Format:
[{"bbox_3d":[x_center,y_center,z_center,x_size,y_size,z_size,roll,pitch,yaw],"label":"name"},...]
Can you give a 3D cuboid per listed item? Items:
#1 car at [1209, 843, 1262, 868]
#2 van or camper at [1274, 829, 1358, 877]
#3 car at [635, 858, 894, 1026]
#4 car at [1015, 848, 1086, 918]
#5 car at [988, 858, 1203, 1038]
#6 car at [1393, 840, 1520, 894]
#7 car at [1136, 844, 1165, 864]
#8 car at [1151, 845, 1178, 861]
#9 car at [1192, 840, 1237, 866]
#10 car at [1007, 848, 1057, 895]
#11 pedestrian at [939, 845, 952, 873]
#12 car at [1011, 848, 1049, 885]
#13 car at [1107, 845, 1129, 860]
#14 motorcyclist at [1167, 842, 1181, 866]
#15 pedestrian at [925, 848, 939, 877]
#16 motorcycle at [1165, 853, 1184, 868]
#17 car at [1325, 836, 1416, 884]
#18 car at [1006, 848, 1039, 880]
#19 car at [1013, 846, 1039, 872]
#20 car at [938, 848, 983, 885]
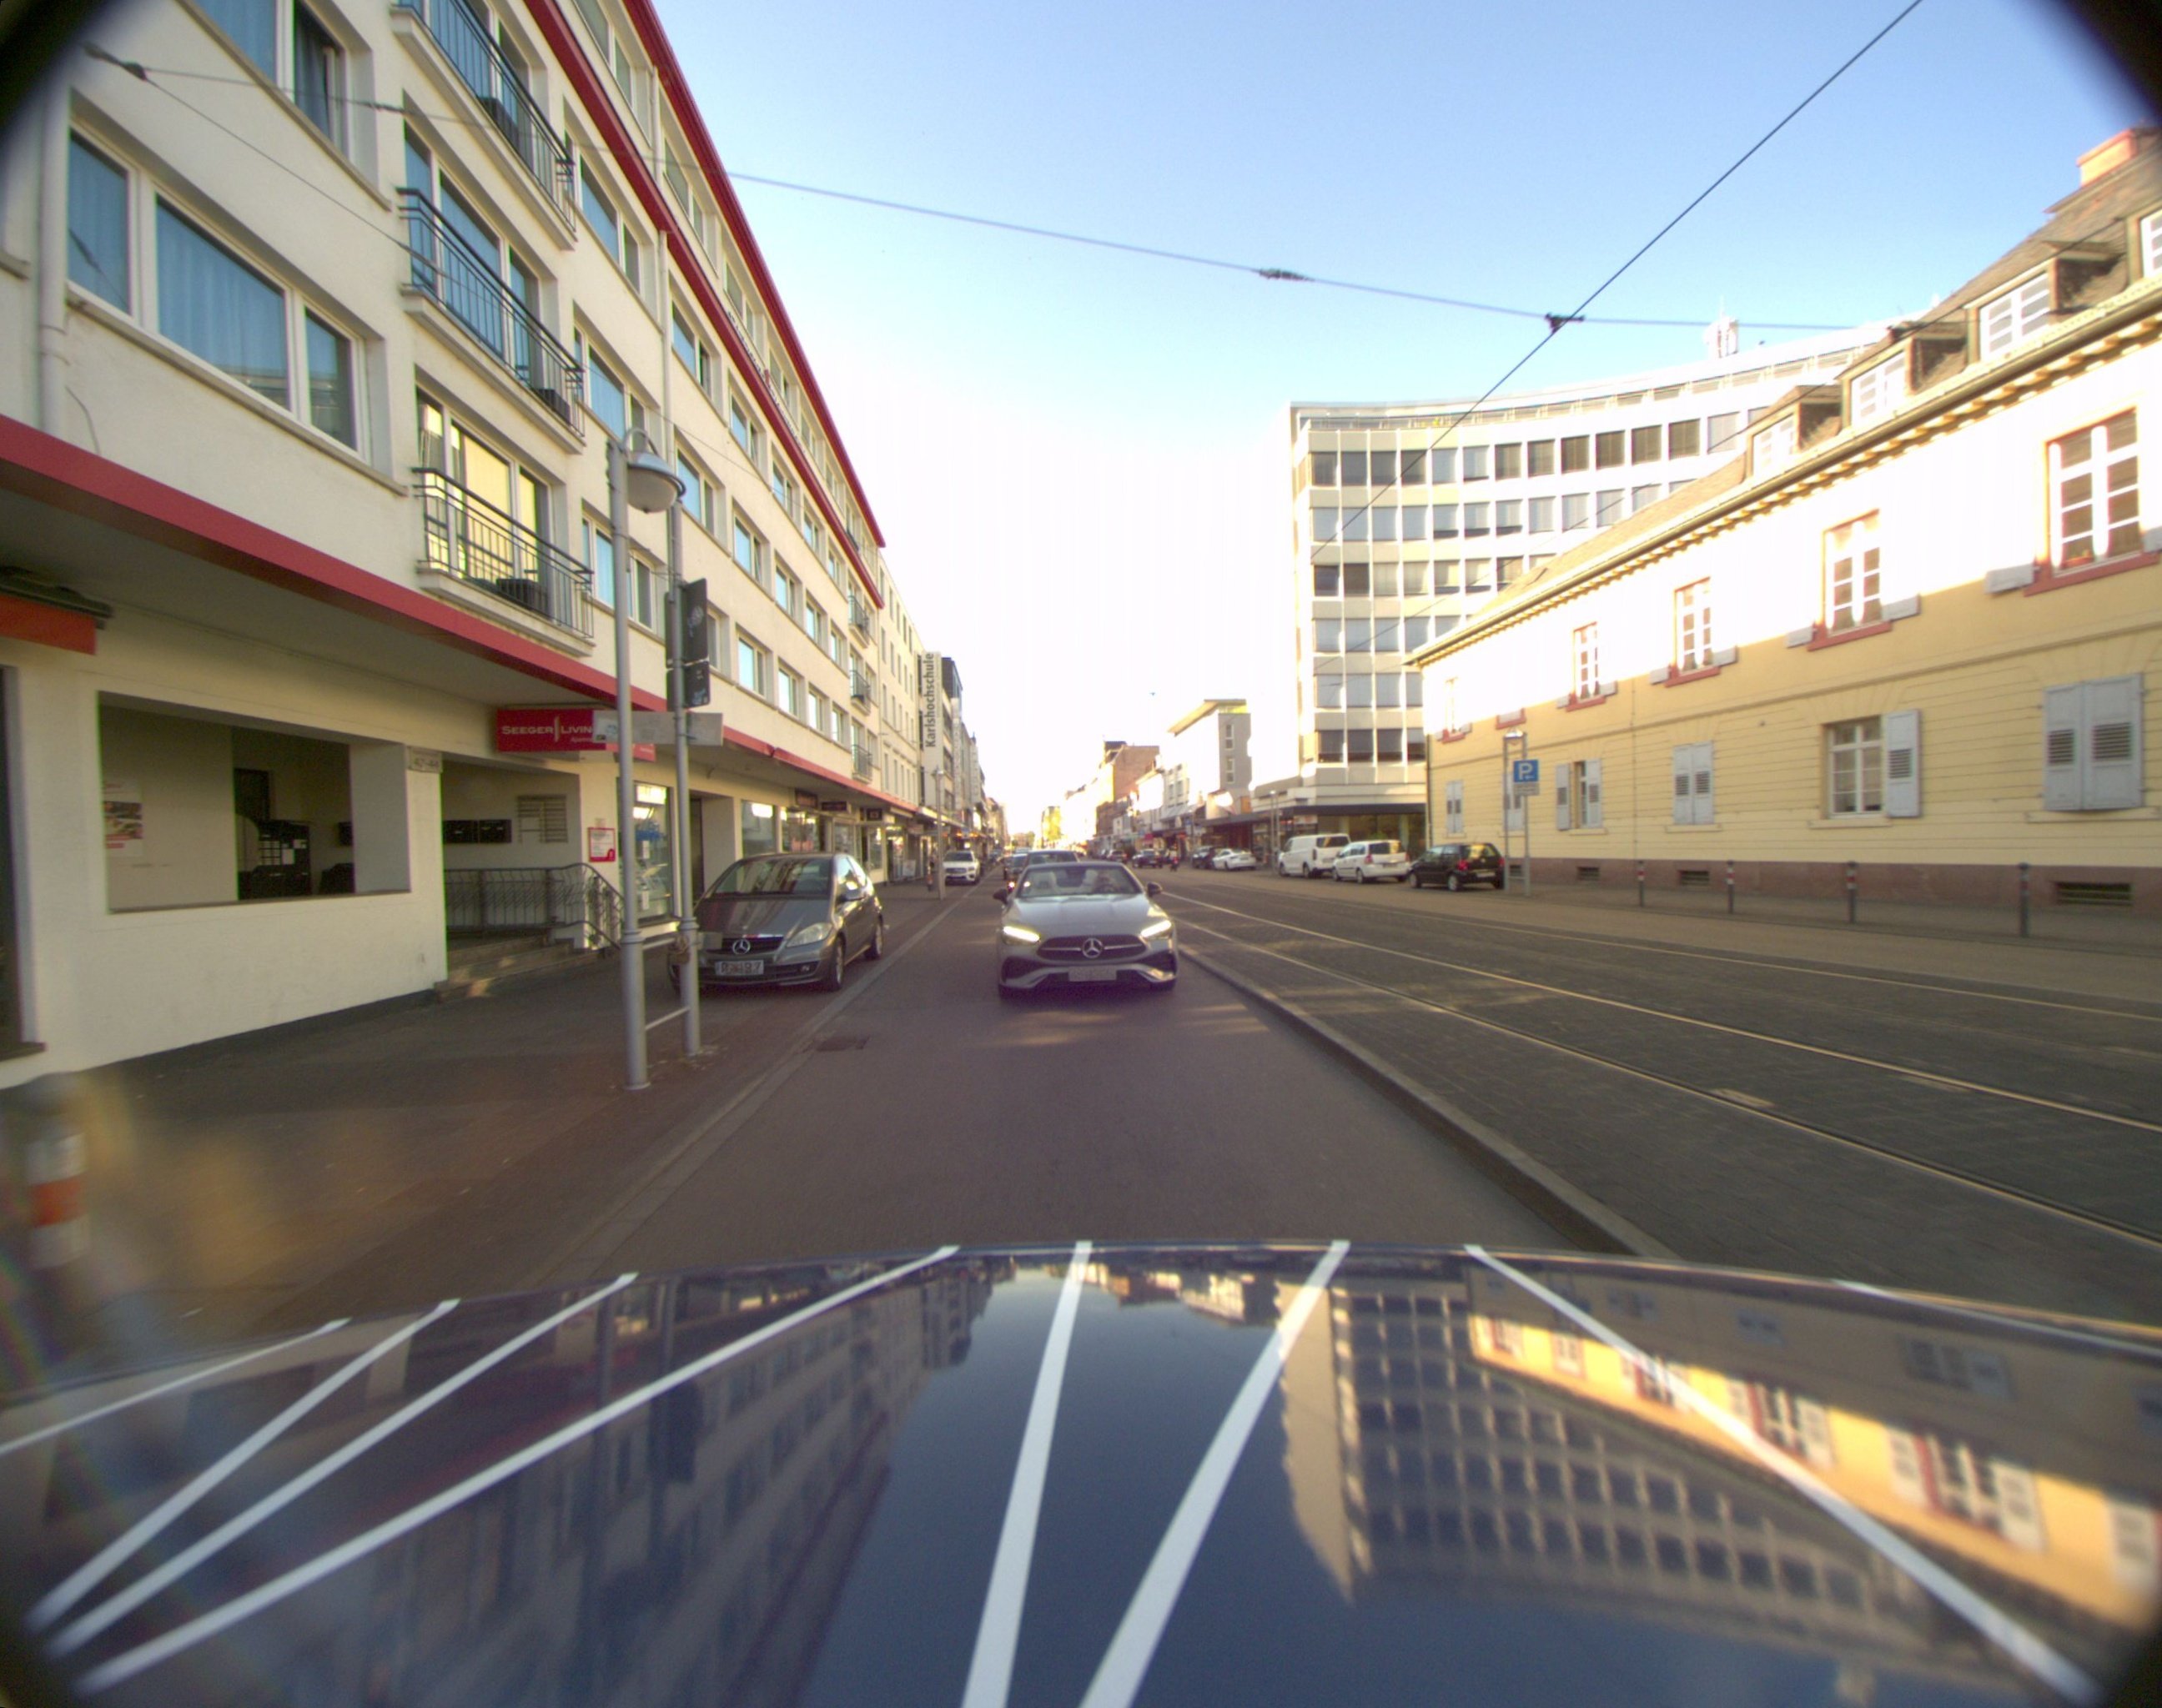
[{"bbox_3d":[9.830,0.078,48.628,1.932,1.444,4.290,-4,1,-8],"label":"car"},{"bbox_3d":[10.803,-0.074,35.289,1.960,1.962,4.794,-3,1,-5],"label":"van or camper"},{"bbox_3d":[-3.617,0.877,9.523,1.782,1.560,3.959,0,1,-4],"label":"car"},{"bbox_3d":[-0.866,0.699,20.575,1.738,1.654,3.959,0,1,-4],"label":"car"},{"bbox_3d":[-0.017,0.825,8.978,1.869,1.431,4.771,0,1,-4],"label":"car"},{"bbox_3d":[11.635,0.340,23.860,1.782,1.431,3.959,-3,1,-4],"label":"car"},{"bbox_3d":[5.469,-0.002,60.131,1.781,1.501,4.669,-1,1,-1],"label":"car"},{"bbox_3d":[7.908,-0.084,72.059,1.787,1.409,3.595,-2,1,-6],"label":"car"},{"bbox_3d":[9.408,-0.116,53.986,1.931,1.633,4.279,-4,1,-7],"label":"car"},{"bbox_3d":[-1.873,0.620,29.354,1.784,1.654,3.959,0,1,-4],"label":"car"},{"bbox_3d":[-8.975,0.352,50.357,0.738,1.807,0.748,-2,2,-6],"label":"pedestrian"},{"bbox_3d":[-2.533,0.576,37.864,1.738,1.654,3.959,0,1,-4],"label":"car"},{"bbox_3d":[3.745,-0.167,77.076,1.782,1.501,3.858,-1,1,-5],"label":"car"},{"bbox_3d":[6.202,-0.003,50.533,0.654,1.550,0.883,-2,2,-11],"label":"motorcyclist"},{"bbox_3d":[-9.337,0.538,47.658,0.706,1.807,0.807,-2,2,-6],"label":"pedestrian"},{"bbox_3d":[6.223,0.441,50.493,0.601,0.921,2.153,-2,1,-11],"label":"motorcycle"},{"bbox_3d":[11.149,0.177,29.606,1.781,1.611,4.174,-3,1,-2],"label":"car"},{"bbox_3d":[-3.243,0.500,42.594,1.738,1.654,3.779,0,1,-4],"label":"car"},{"bbox_3d":[-3.733,0.284,51.901,1.738,1.654,3.959,0,1,-4],"label":"car"},{"bbox_3d":[-5.822,0.572,37.116,1.784,1.654,4.161,0,1,-4],"label":"car"}]
